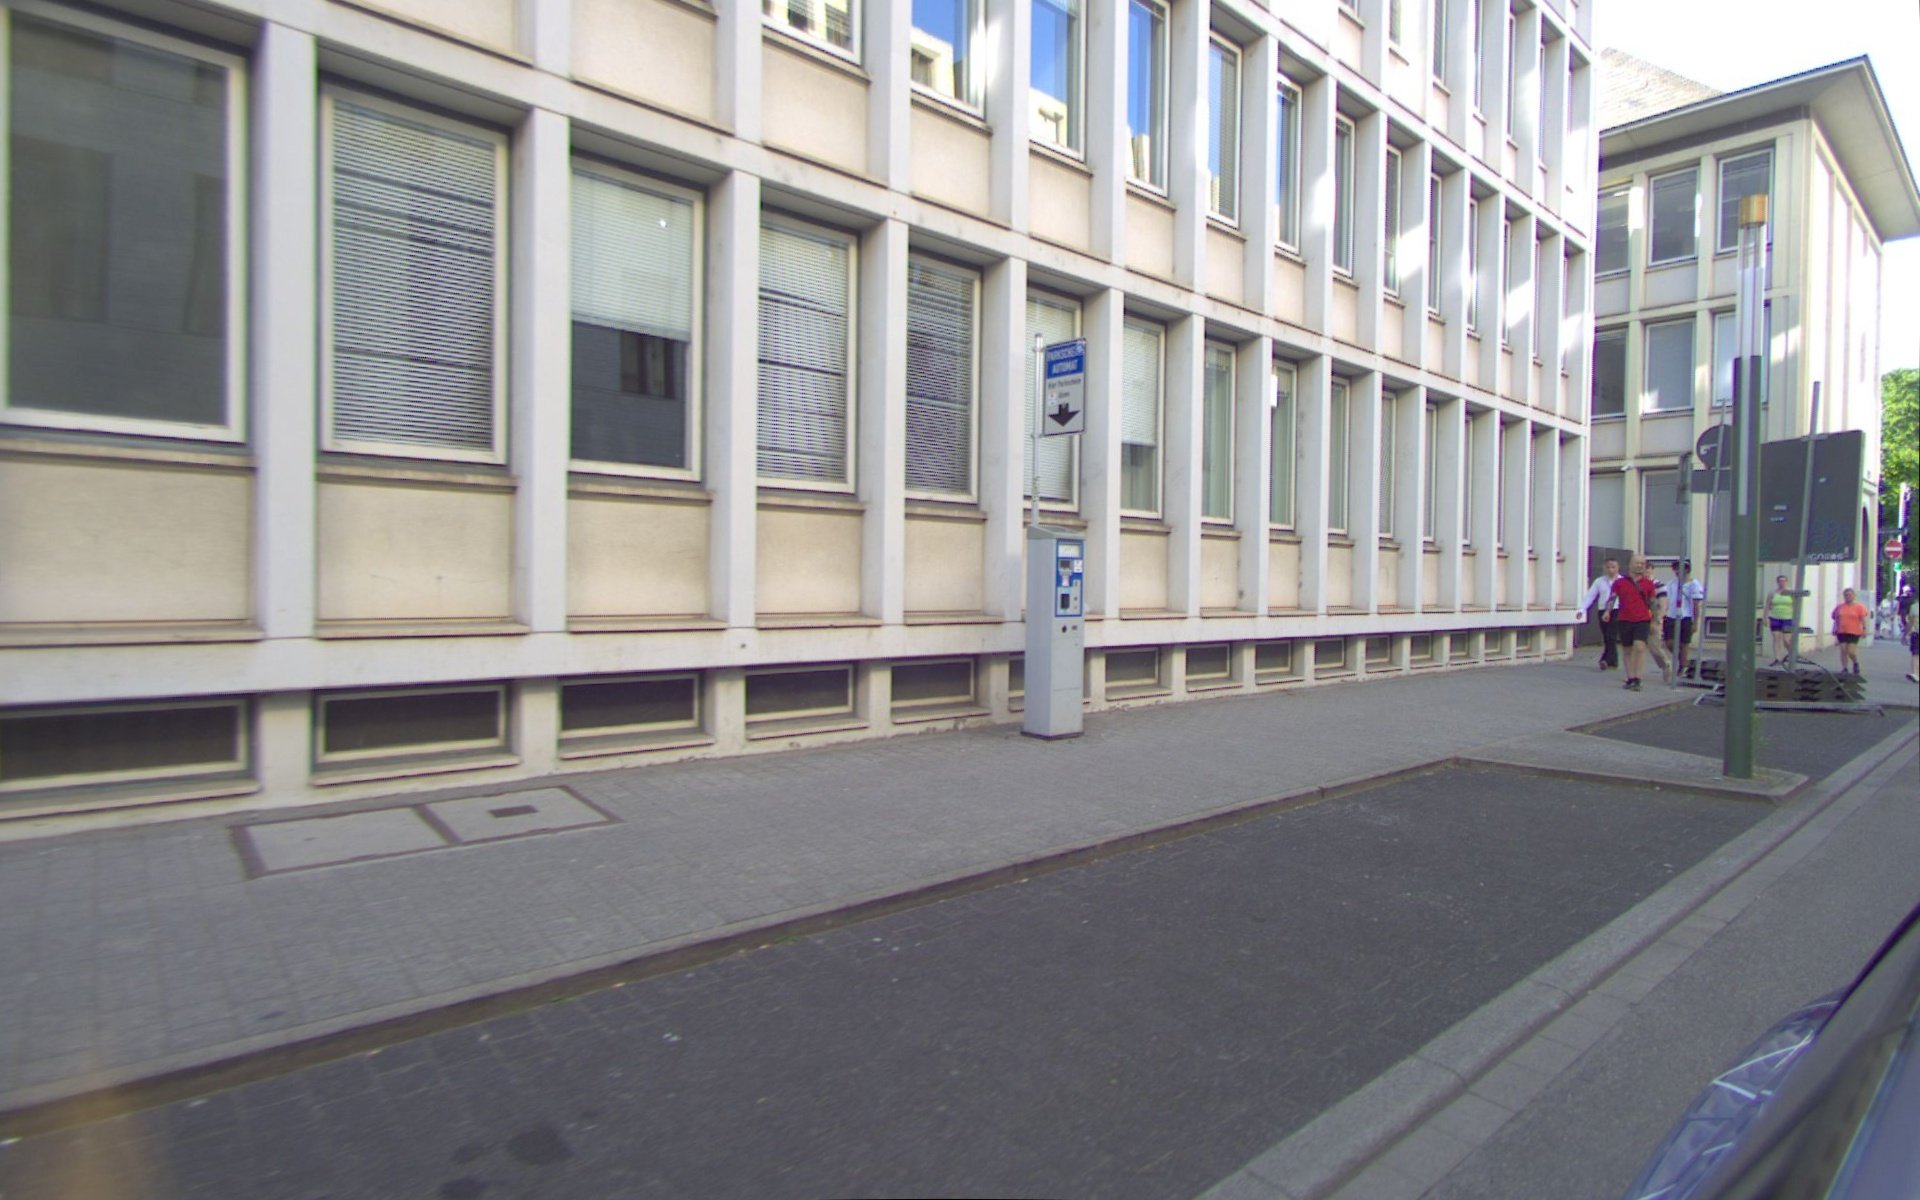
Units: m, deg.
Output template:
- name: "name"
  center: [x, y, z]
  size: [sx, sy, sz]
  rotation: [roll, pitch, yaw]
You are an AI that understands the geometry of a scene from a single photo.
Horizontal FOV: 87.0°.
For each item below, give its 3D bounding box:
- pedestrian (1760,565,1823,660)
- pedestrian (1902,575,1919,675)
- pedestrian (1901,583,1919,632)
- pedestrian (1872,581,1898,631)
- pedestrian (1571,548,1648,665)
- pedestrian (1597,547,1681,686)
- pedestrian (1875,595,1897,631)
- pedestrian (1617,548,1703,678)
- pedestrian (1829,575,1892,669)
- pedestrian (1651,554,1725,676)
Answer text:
- name: "pedestrian"
  center: [15.897, 0.231, 19.347]
  size: [0.681, 1.736, 0.685]
  rotation: [0, 5, -39]
- name: "pedestrian"
  center: [17.250, 0.455, 17.867]
  size: [0.681, 1.736, 0.685]
  rotation: [0, 5, -39]
- name: "pedestrian"
  center: [31.948, 0.247, 33.906]
  size: [0.624, 1.634, 0.613]
  rotation: [0, 1, 44]
- name: "pedestrian"
  center: [31.019, 0.195, 33.944]
  size: [0.624, 1.662, 0.613]
  rotation: [0, 1, 44]
- name: "pedestrian"
  center: [10.530, 0.098, 16.416]
  size: [0.681, 1.799, 0.685]
  rotation: [0, 6, -39]
- name: "pedestrian"
  center: [9.256, 0.207, 13.802]
  size: [0.583, 1.799, 0.685]
  rotation: [0, 4, -39]
- name: "pedestrian"
  center: [31.479, 0.443, 34.414]
  size: [0.534, 1.191, 0.613]
  rotation: [0, 1, 43]
- name: "pedestrian"
  center: [10.266, 0.180, 14.844]
  size: [0.681, 1.799, 0.685]
  rotation: [0, 6, -39]
- name: "pedestrian"
  center: [16.456, 0.387, 18.494]
  size: [0.681, 1.656, 0.685]
  rotation: [0, 3, -39]
- name: "pedestrian"
  center: [11.206, 0.207, 15.578]
  size: [0.681, 1.800, 0.685]
  rotation: [0, 3, -39]
